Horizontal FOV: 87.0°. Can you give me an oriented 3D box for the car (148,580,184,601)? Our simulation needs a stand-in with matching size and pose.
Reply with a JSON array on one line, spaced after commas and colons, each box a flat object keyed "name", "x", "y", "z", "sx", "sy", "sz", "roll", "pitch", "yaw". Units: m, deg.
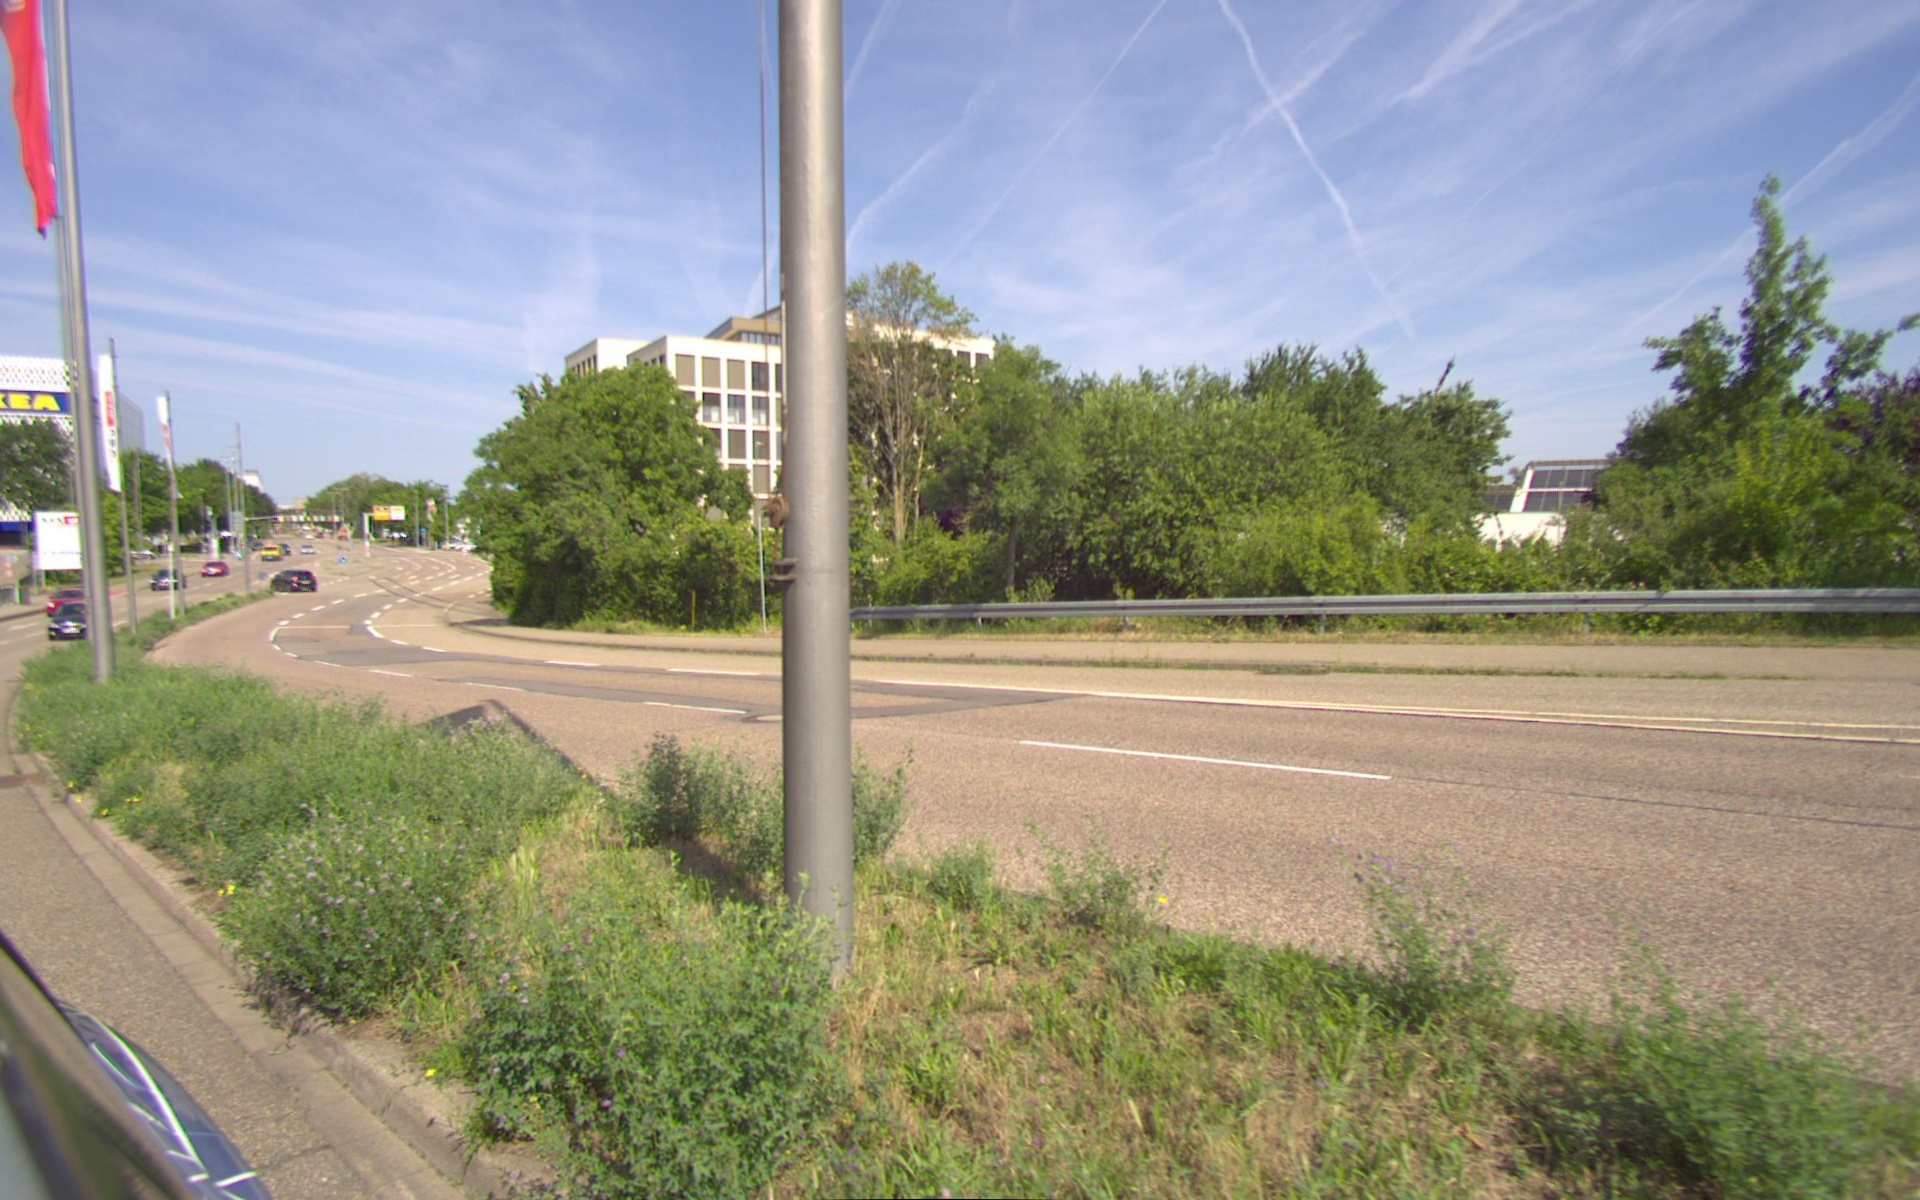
[{"name": "car", "x": -62.558, "y": -0.789, "z": 79.793, "sx": 1.796, "sy": 1.485, "sz": 4.012, "roll": -2, "pitch": 4, "yaw": -32}]

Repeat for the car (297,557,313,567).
[{"name": "car", "x": -97.264, "y": -5.662, "z": 150.260, "sx": 1.796, "sy": 1.485, "sz": 4.012, "roll": -2, "pitch": 4, "yaw": -32}]

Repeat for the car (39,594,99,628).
[{"name": "car", "x": -48.933, "y": 0.577, "z": 55.664, "sx": 1.748, "sy": 1.671, "sz": 4.157, "roll": 1, "pitch": 1, "yaw": -31}]

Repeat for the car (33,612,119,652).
[{"name": "car", "x": -36.547, "y": 1.291, "z": 41.927, "sx": 1.819, "sy": 1.429, "sz": 4.013, "roll": -1, "pitch": 1, "yaw": -28}]

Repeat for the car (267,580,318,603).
[{"name": "car", "x": -49.639, "y": -0.668, "z": 75.252, "sx": 4.137, "sy": 1.540, "sz": 1.840, "roll": 3, "pitch": 3, "yaw": 36}]

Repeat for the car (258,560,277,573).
[{"name": "car", "x": -88.305, "y": -4.256, "z": 129.023, "sx": 1.796, "sy": 1.485, "sz": 4.012, "roll": -2, "pitch": 4, "yaw": -32}]

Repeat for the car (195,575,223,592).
[{"name": "car", "x": -72.341, "y": -1.606, "z": 97.507, "sx": 1.796, "sy": 1.485, "sz": 4.012, "roll": -2, "pitch": 4, "yaw": -32}]
